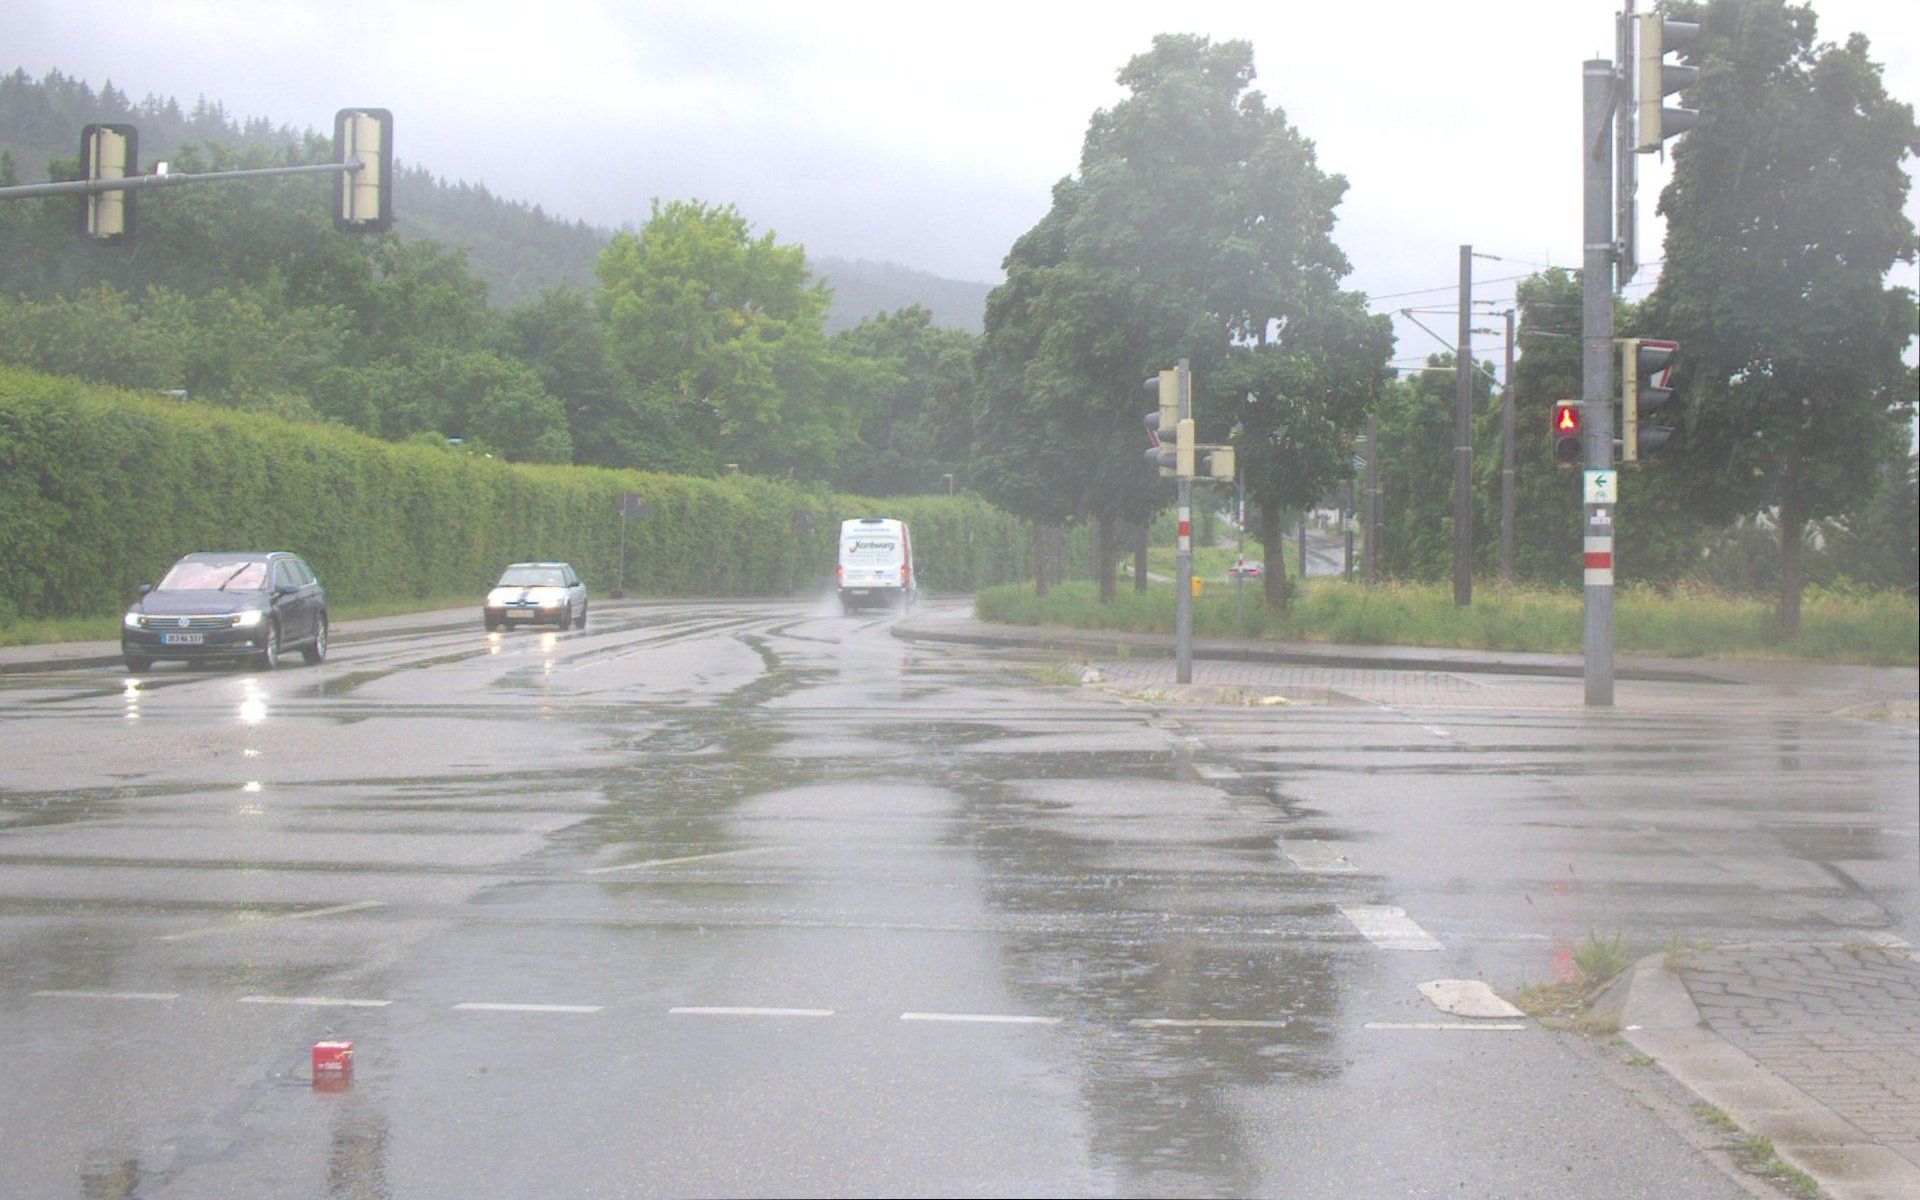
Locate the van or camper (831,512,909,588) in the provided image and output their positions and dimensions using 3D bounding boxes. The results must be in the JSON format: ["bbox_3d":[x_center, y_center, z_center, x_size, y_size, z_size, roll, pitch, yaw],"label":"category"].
[{"bbox_3d":[-2.595,-1.481,100.481,2.153,2.161,4.865,1,1,0],"label":"van or camper"}]

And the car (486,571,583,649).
[{"bbox_3d":[-8.655,0.183,70.088,1.558,1.476,3.361,1,1,0],"label":"car"}]

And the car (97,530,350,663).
[{"bbox_3d":[-9.376,-0.078,44.143,1.879,1.568,4.644,-1,1,5],"label":"car"}]
